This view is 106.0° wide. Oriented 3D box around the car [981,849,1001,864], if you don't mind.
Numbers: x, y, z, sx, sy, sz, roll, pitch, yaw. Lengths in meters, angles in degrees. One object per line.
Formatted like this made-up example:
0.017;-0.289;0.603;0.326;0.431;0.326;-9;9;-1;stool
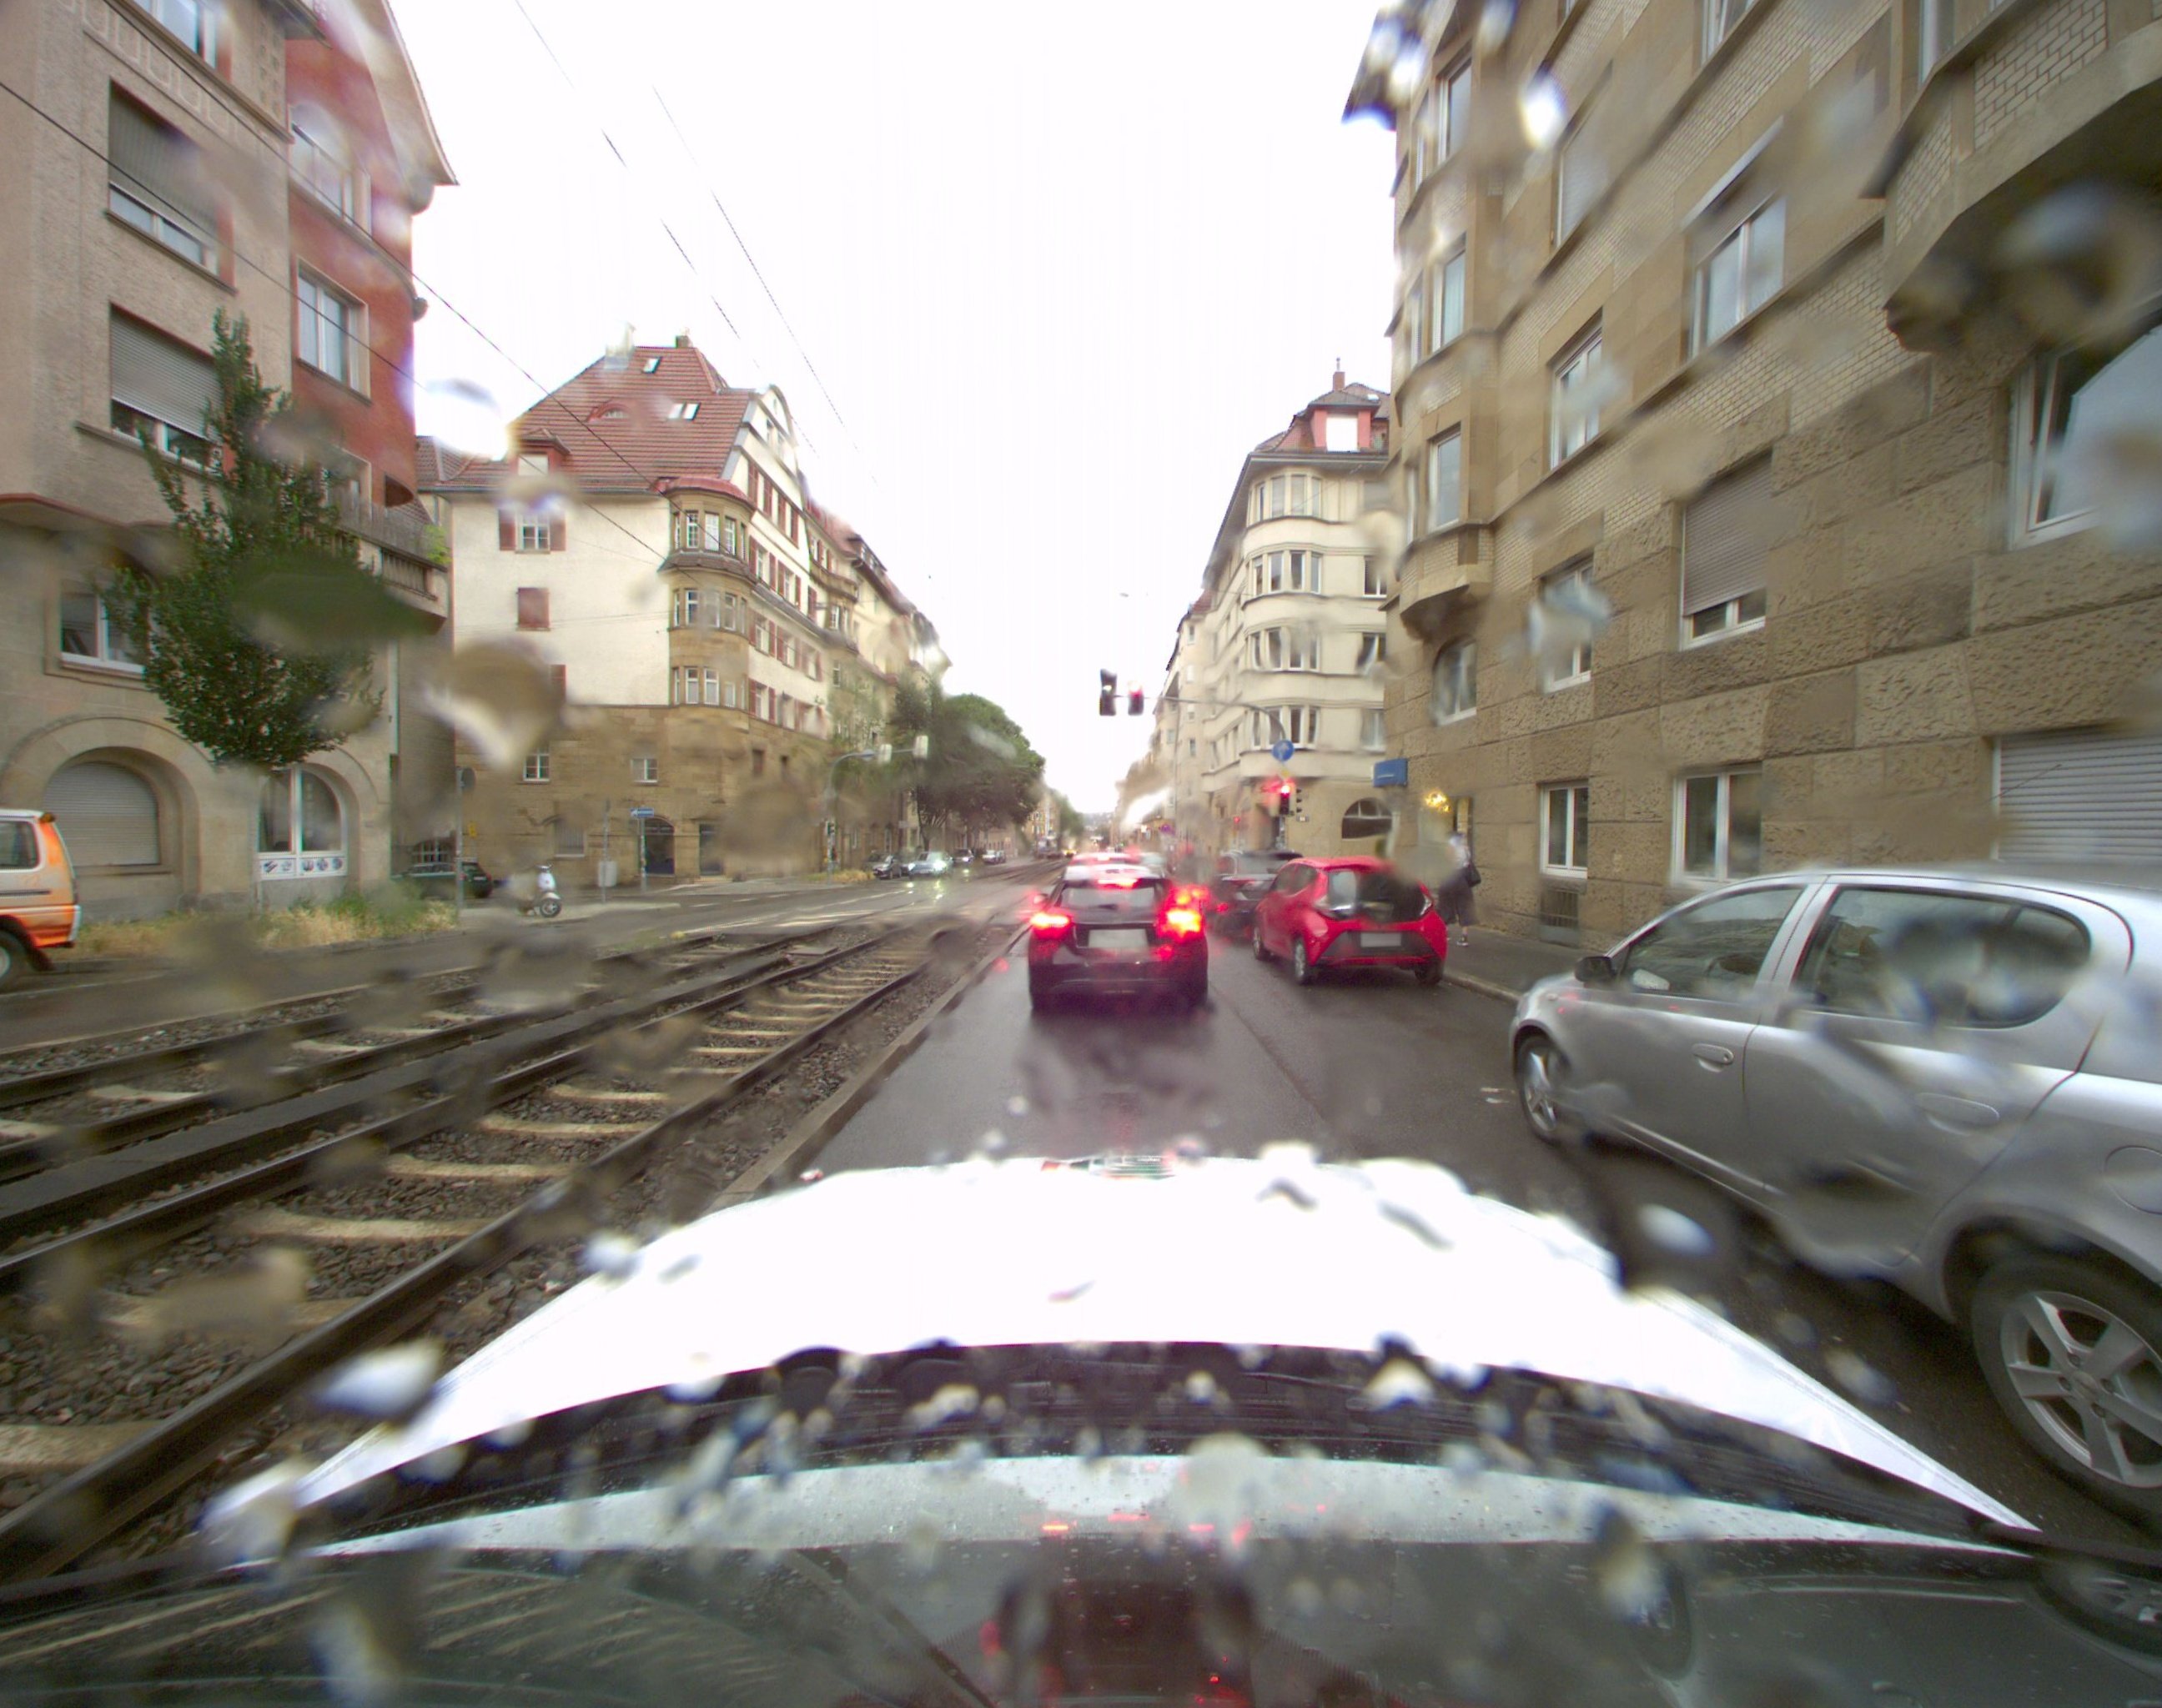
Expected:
-9.873;0.315;89.578;1.583;1.581;3.920;0;-1;2;car

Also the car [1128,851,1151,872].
4.410;0.541;61.565;1.539;1.486;3.549;0;0;2;car

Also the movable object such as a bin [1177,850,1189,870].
7.469;0.437;59.538;0.873;1.389;0.984;0;-1;5;movable object such as a bin

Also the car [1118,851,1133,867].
4.020;0.417;73.655;1.289;1.442;2.930;0;0;2;car

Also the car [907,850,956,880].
-8.275;0.583;45.412;1.891;1.588;3.974;0;-1;2;car

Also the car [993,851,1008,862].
-9.803;0.303;98.994;1.443;1.331;3.271;0;-1;0;car

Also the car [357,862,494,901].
-24.389;1.001;30.389;3.633;1.404;1.699;0;-1;-3;car

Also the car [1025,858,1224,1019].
0.462;0.784;9.545;1.822;1.458;4.105;0;0;2;car

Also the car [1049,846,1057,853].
-5.258;-0.851;154.381;1.372;1.249;3.297;0;-1;0;car

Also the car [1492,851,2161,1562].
3.142;0.745;3.082;1.608;1.467;3.314;-2;0;3;car

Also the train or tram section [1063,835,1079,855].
-2.066;-1.806;167.913;2.772;3.861;10.433;0;-1;2;train or tram section

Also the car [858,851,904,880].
-11.260;0.640;46.098;1.747;1.552;4.033;0;-1;-2;car

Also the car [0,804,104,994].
-12.126;0.463;7.191;1.725;1.975;4.341;0;-1;0;car

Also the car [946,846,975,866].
-10.602;0.219;72.121;1.868;1.737;3.920;0;-1;2;car

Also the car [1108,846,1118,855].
7.023;-0.817;178.402;1.986;1.876;4.001;0;-1;2;car

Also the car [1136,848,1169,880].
3.696;0.491;42.683;1.539;1.590;3.549;0;0;2;car

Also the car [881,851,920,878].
-11.291;0.647;51.133;1.713;1.611;3.914;0;-1;-3;car

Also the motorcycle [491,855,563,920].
-12.071;0.707;17.747;1.577;1.365;0.628;-1;-1;28;motorcycle

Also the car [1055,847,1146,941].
0.388;0.703;15.941;1.559;1.609;3.815;0;-1;2;car

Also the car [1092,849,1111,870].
1.684;0.448;66.334;1.539;1.636;3.687;0;0;2;car

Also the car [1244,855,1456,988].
3.273;0.739;10.547;1.637;1.448;3.298;0;0;-1;car

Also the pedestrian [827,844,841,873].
-14.021;0.256;46.227;0.630;1.672;0.701;0;-1;-7;pedestrian

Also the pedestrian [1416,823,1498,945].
5.640;0.433;12.283;0.739;1.748;1.111;0;-1;2;pedestrian

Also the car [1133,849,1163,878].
3.837;0.536;47.157;1.539;1.590;3.549;0;0;2;car

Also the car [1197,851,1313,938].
3.239;0.694;15.791;1.539;1.486;3.831;0;0;2;car
